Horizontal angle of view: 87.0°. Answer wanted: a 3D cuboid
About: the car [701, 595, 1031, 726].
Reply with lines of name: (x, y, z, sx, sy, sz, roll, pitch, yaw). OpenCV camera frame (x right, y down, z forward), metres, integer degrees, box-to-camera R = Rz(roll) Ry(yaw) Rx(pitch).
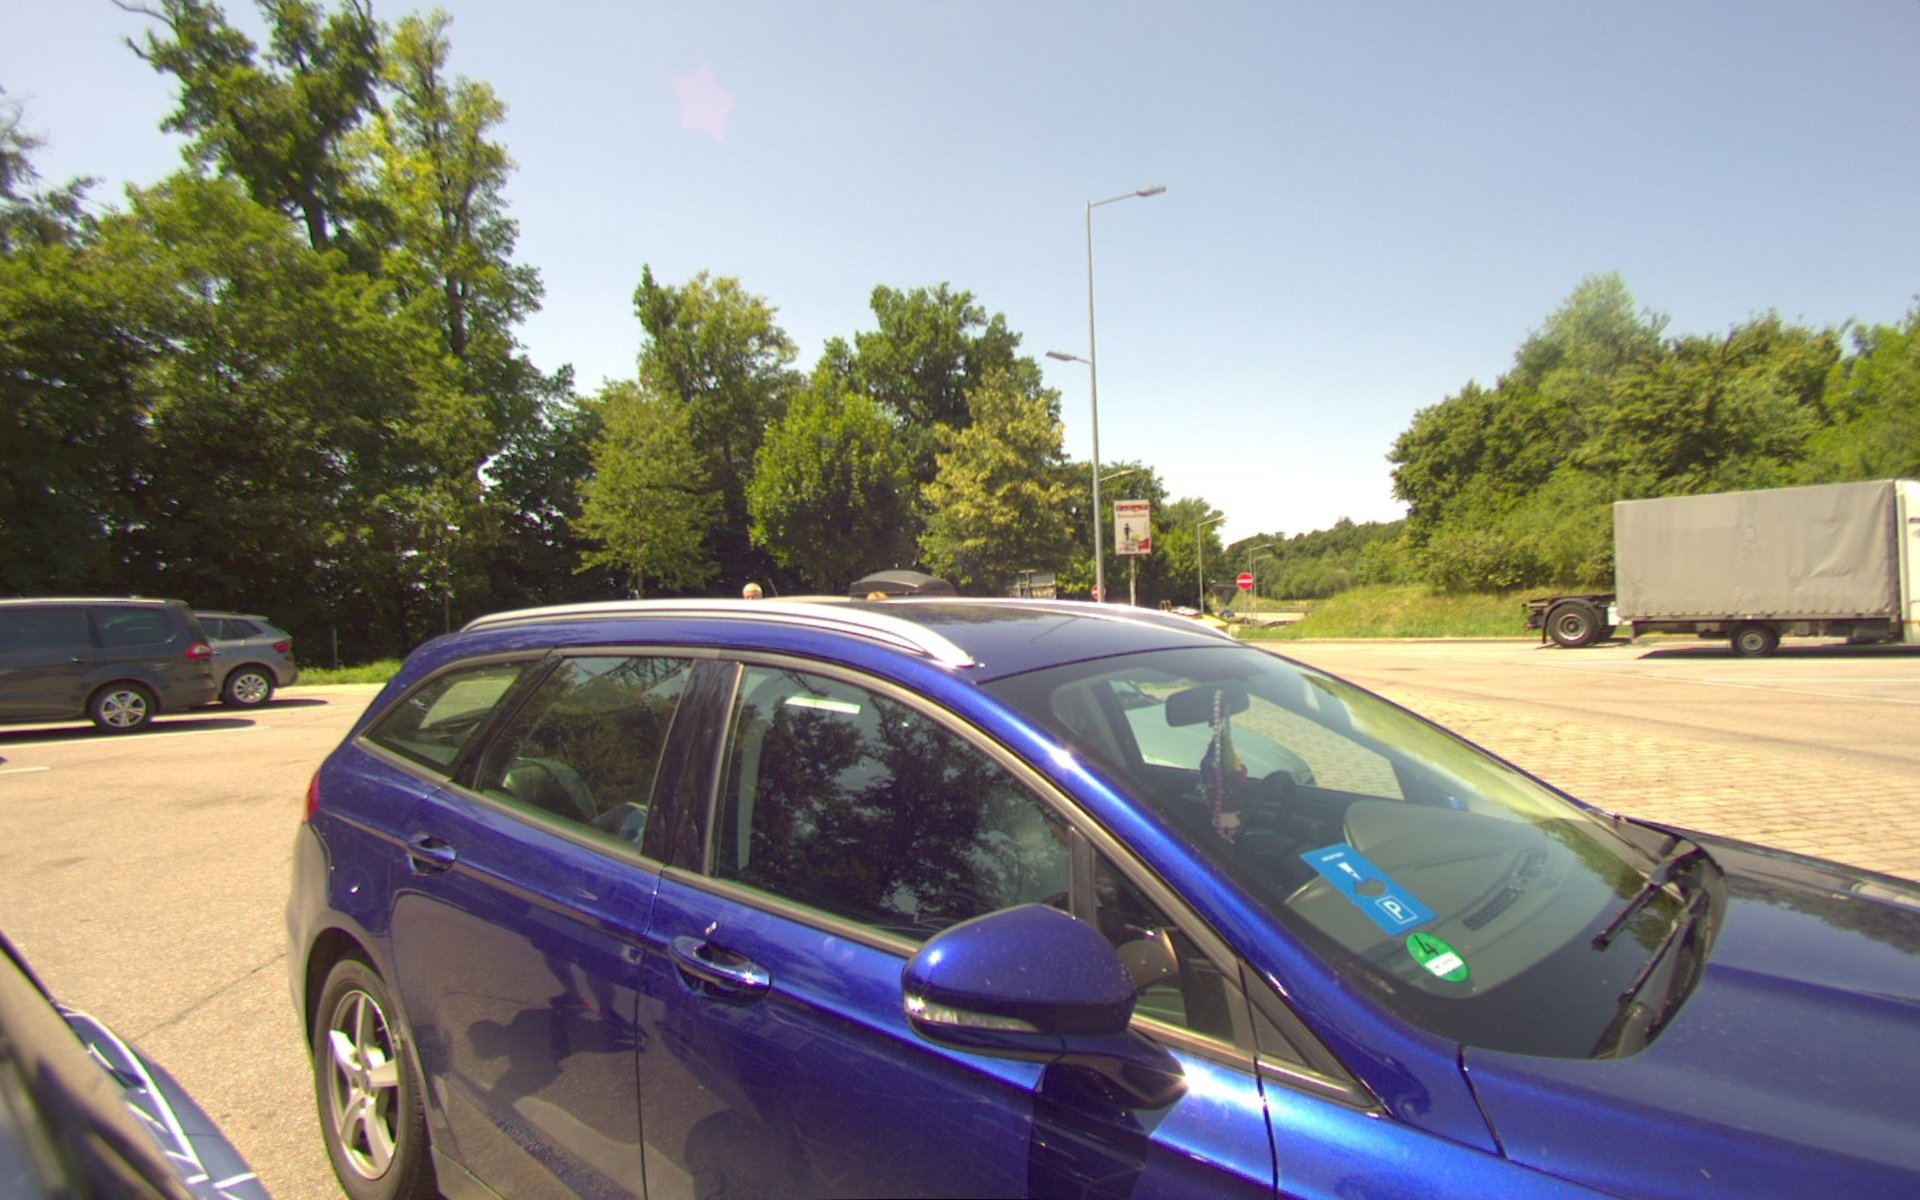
car: (-1.383, 0.758, 13.545, 4.466, 1.476, 1.756, -3, -1, 40)

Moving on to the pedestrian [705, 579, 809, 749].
pedestrian: (-2.033, 0.618, 10.142, 0.759, 1.614, 0.663, -3, -1, 41)

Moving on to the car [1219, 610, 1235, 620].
car: (43.612, 2.385, 165.407, 1.692, 1.547, 3.850, -2, 0, 3)

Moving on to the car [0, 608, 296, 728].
car: (-12.734, 0.974, 15.619, 3.910, 1.598, 1.782, -1, -1, -43)

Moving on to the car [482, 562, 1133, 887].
car: (-1.261, 0.634, 6.731, 4.466, 1.476, 1.756, -3, -1, 40)

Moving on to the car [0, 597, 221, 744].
car: (-11.705, 0.849, 12.568, 3.910, 1.701, 1.782, -1, -1, -43)

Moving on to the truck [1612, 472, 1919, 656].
truck: (16.743, -0.599, 18.880, 7.347, 3.152, 2.339, -3, -2, 41)

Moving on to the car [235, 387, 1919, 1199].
car: (0.219, 0.633, 2.114, 4.466, 1.476, 1.756, -3, -1, 40)

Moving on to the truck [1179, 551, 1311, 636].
truck: (13.346, -0.251, 47.419, 5.782, 3.720, 1.987, -2, -1, 20)

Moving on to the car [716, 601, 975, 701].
car: (-2.035, 0.829, 17.099, 4.466, 1.476, 1.756, -3, -1, 40)

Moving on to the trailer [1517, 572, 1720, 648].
trailer: (15.763, 0.273, 24.345, 3.900, 1.674, 1.456, -2, -1, 41)
